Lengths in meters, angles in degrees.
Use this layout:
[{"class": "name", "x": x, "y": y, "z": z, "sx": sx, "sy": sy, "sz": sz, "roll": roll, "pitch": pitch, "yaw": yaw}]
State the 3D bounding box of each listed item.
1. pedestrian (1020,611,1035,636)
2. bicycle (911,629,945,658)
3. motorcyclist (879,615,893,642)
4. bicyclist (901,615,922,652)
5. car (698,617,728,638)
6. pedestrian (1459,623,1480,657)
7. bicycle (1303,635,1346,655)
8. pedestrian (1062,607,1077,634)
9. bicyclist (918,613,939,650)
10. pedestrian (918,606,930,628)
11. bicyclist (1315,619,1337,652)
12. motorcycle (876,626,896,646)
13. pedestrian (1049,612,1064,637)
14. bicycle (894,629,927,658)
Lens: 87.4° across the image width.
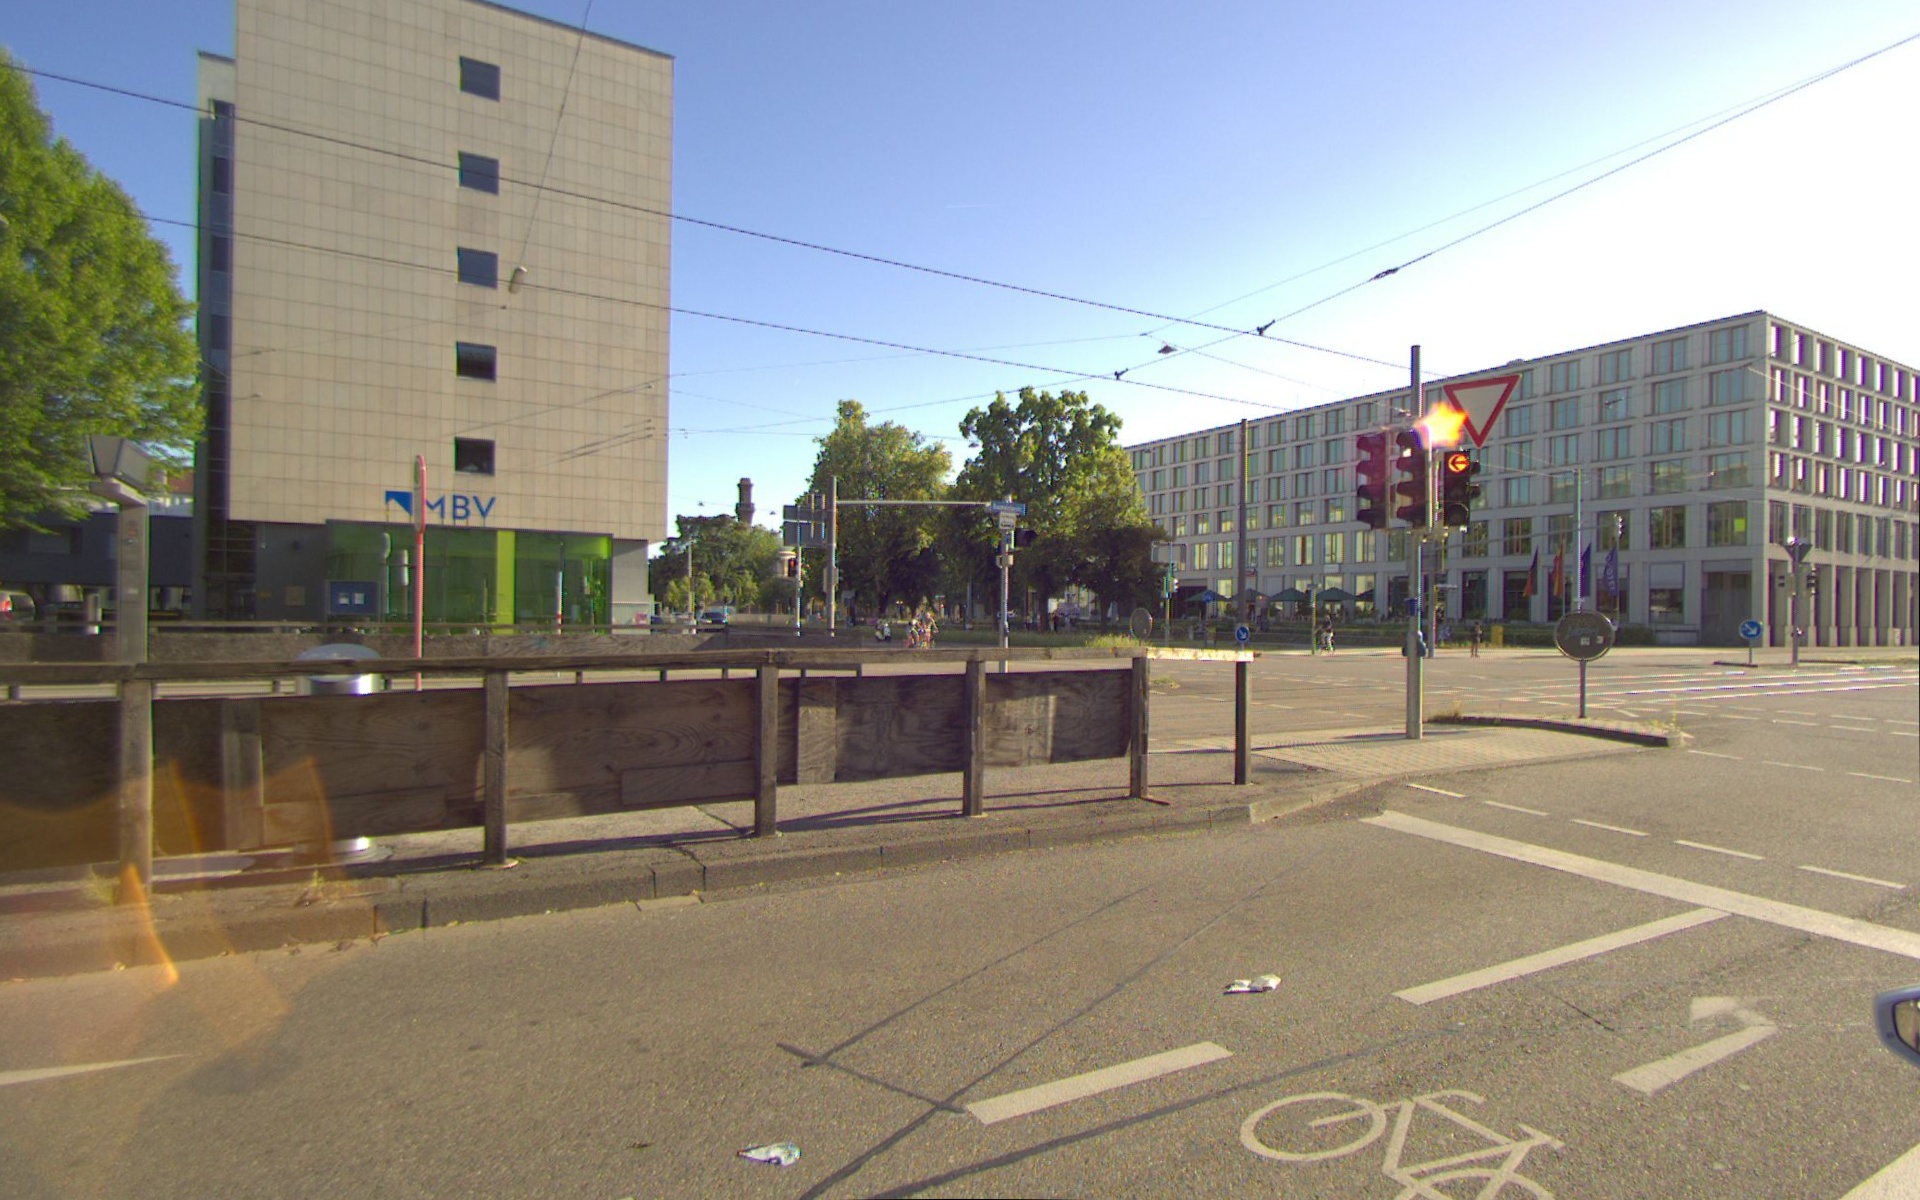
[{"class": "pedestrian", "x": 5.365, "y": 1.834, "z": 79.645, "sx": 0.863, "sy": 1.925, "sz": 0.713, "roll": 2, "pitch": 0, "yaw": -26}, {"class": "bicycle", "x": -1.361, "y": 1.822, "z": 42.394, "sx": 0.616, "sy": 1.148, "sz": 1.869, "roll": 1, "pitch": -1, "yaw": -31}, {"class": "motorcyclist", "x": -4.343, "y": 1.680, "z": 59.124, "sx": 0.561, "sy": 1.598, "sz": 0.642, "roll": 1, "pitch": -1, "yaw": -35}, {"class": "bicyclist", "x": -2.004, "y": 1.393, "z": 41.789, "sx": 0.647, "sy": 1.544, "sz": 0.615, "roll": 1, "pitch": -1, "yaw": -32}, {"class": "car", "x": -20.598, "y": 2.266, "z": 83.703, "sx": 1.611, "sy": 1.639, "sz": 3.623, "roll": 2, "pitch": 0, "yaw": -28}, {"class": "pedestrian", "x": 24.870, "y": 1.957, "z": 49.069, "sx": 0.587, "sy": 1.610, "sz": 0.767, "roll": 1, "pitch": -1, "yaw": -43}, {"class": "bicycle", "x": 17.926, "y": 2.202, "z": 49.390, "sx": 1.829, "sy": 0.947, "sz": 0.762, "roll": 1, "pitch": -1, "yaw": -7}, {"class": "pedestrian", "x": 8.497, "y": 1.568, "z": 78.173, "sx": 0.812, "sy": 2.040, "sz": 0.841, "roll": 2, "pitch": 0, "yaw": -20}, {"class": "bicyclist", "x": -1.323, "y": 1.335, "z": 42.353, "sx": 0.602, "sy": 1.544, "sz": 0.709, "roll": 1, "pitch": -1, "yaw": -32}, {"class": "pedestrian", "x": -3.472, "y": 1.631, "z": 96.085, "sx": 0.816, "sy": 2.040, "sz": 0.837, "roll": 2, "pitch": 0, "yaw": -32}, {"class": "bicyclist", "x": 17.995, "y": 1.749, "z": 49.395, "sx": 0.763, "sy": 1.610, "sz": 0.761, "roll": 2, "pitch": -1, "yaw": -6}, {"class": "motorcycle", "x": -4.369, "y": 2.129, "z": 59.180, "sx": 0.524, "sy": 1.153, "sz": 1.449, "roll": 1, "pitch": -1, "yaw": -34}, {"class": "pedestrian", "x": 7.452, "y": 1.887, "z": 77.532, "sx": 0.861, "sy": 1.925, "sz": 0.714, "roll": 2, "pitch": 0, "yaw": -20}, {"class": "bicycle", "x": -2.065, "y": 1.790, "z": 41.878, "sx": 0.574, "sy": 1.148, "sz": 1.776, "roll": 1, "pitch": -1, "yaw": -31}]
